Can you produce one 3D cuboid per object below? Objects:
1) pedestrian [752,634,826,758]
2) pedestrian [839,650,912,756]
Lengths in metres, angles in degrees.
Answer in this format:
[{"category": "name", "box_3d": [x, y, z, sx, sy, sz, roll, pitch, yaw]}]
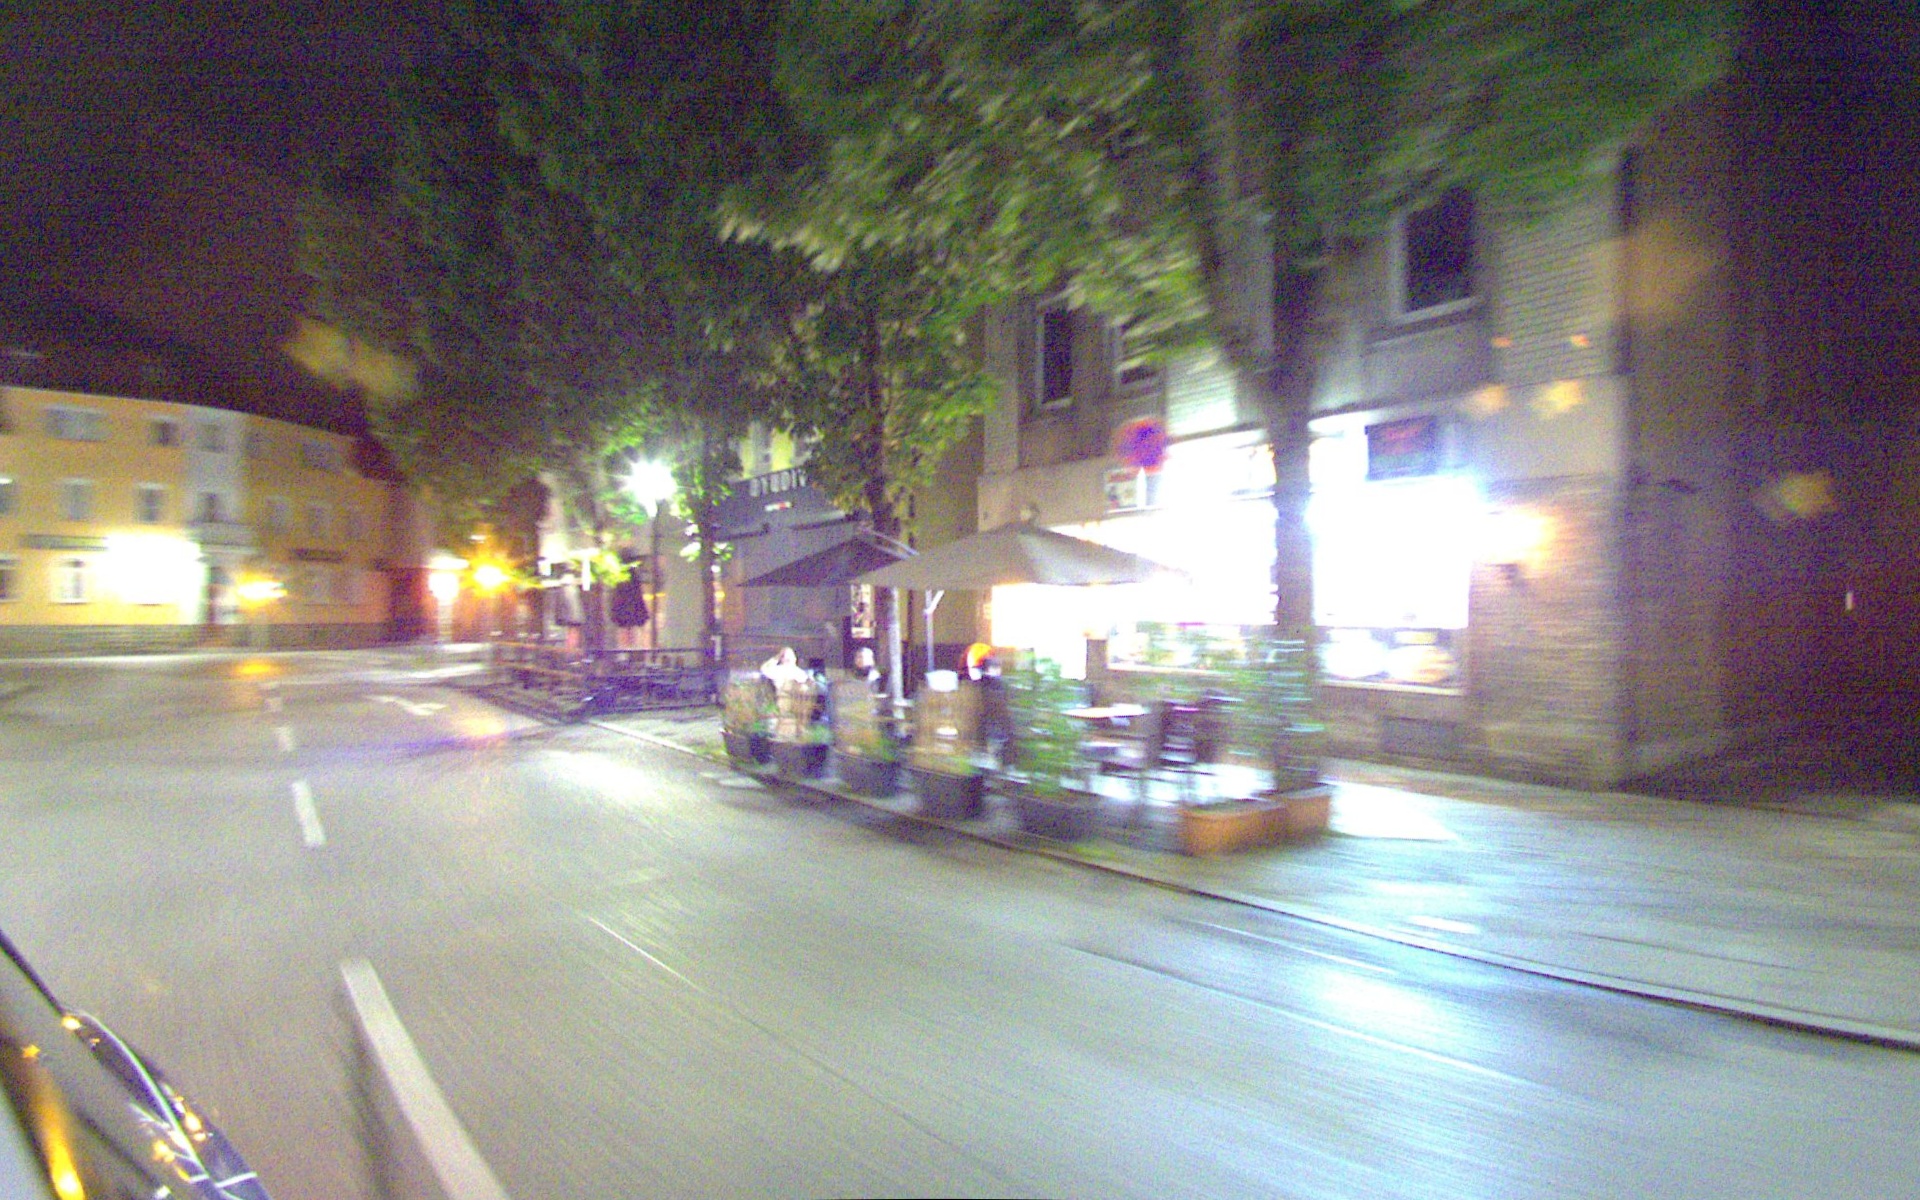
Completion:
[{"category": "pedestrian", "box_3d": [-2.006, 1.094, 11.875, 0.667, 1.389, 0.577, 1, -2, -41]}, {"category": "pedestrian", "box_3d": [-0.995, 1.181, 11.851, 0.567, 1.173, 0.679, 1, -2, -41]}]
